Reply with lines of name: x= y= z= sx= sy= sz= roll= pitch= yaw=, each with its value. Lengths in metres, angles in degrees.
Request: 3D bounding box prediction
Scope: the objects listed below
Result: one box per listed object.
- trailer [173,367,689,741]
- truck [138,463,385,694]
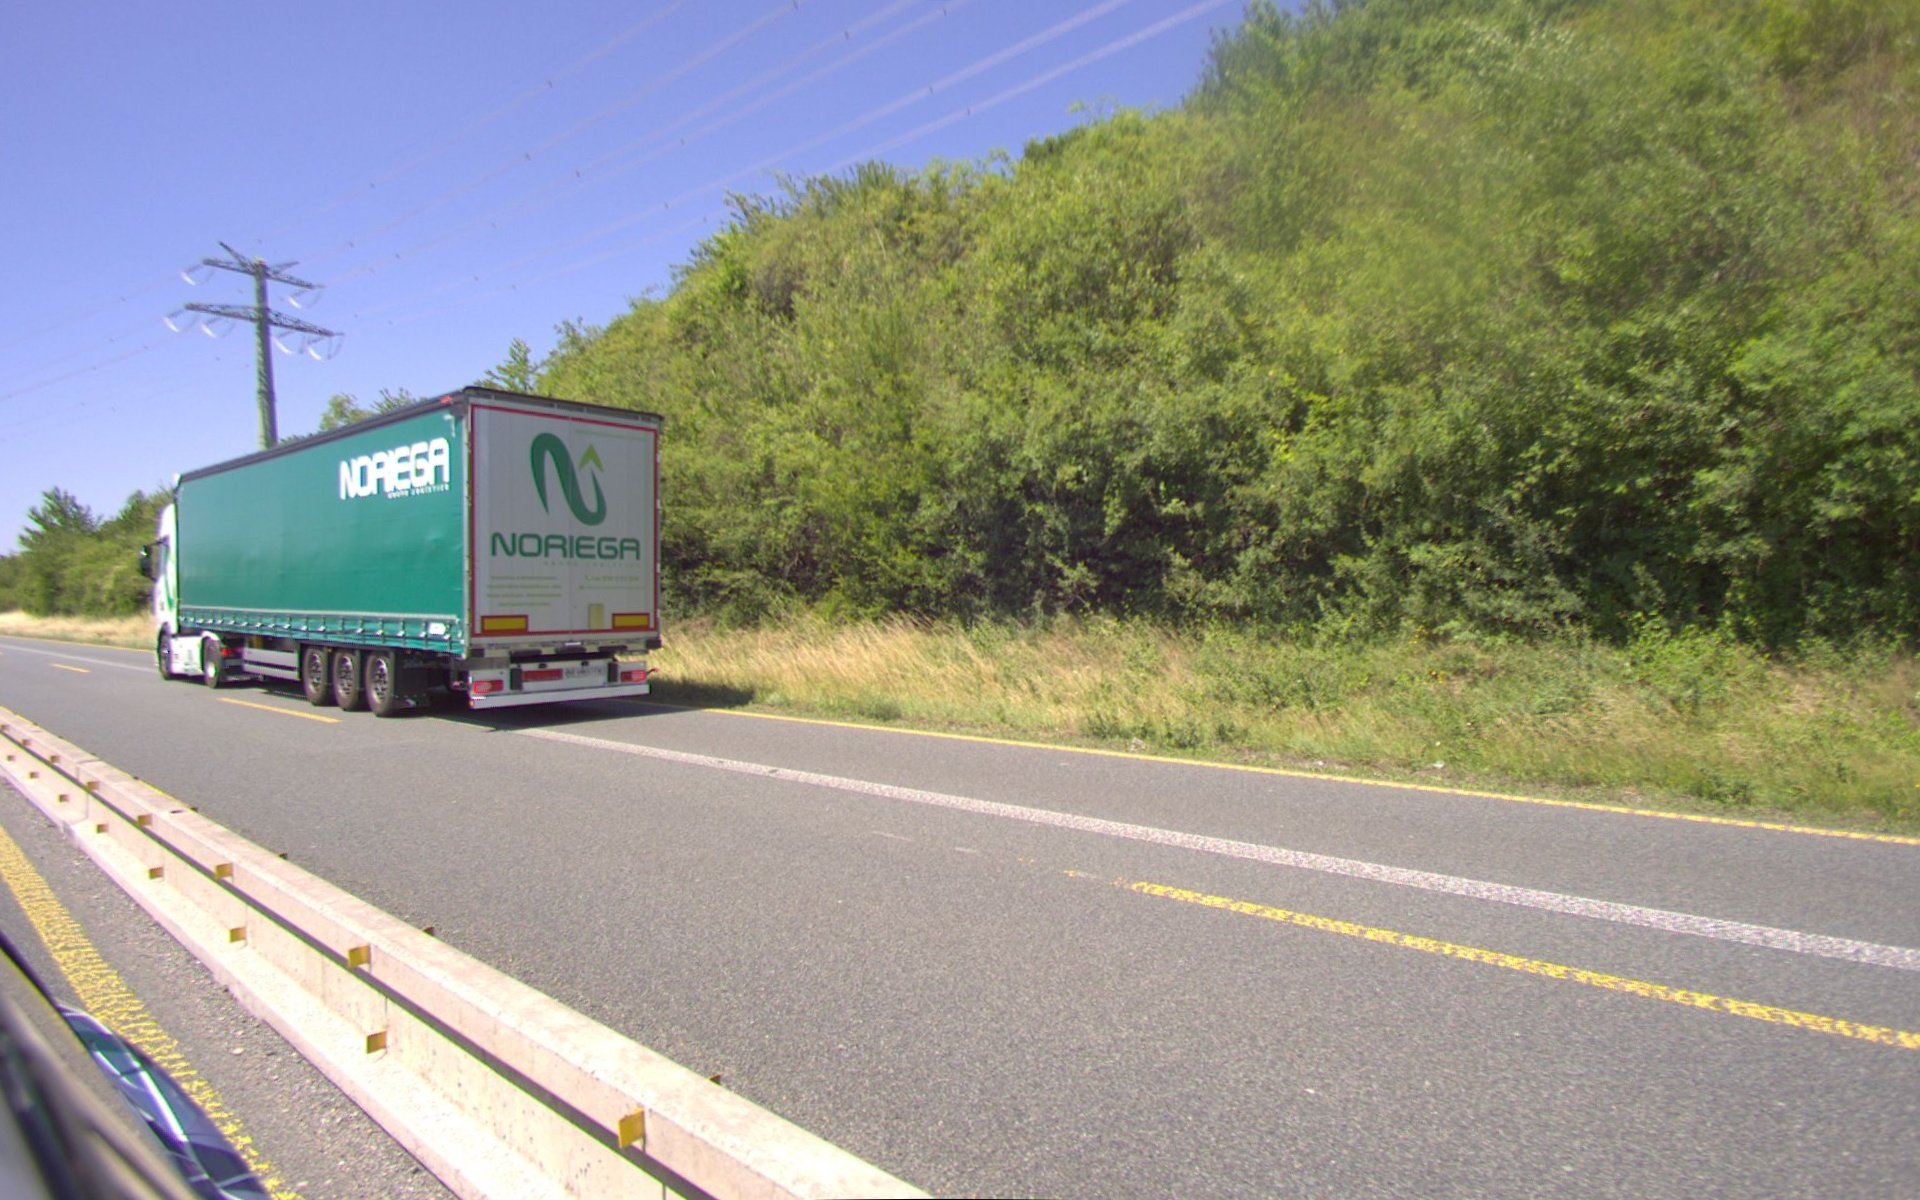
trailer: x=-9.539 y=-0.440 z=16.674 sx=13.236 sy=4.156 sz=2.862 roll=-1 pitch=0 yaw=41
truck: x=-14.758 y=-0.338 z=21.232 sx=6.017 sy=4.149 sz=2.865 roll=-1 pitch=-1 yaw=41
